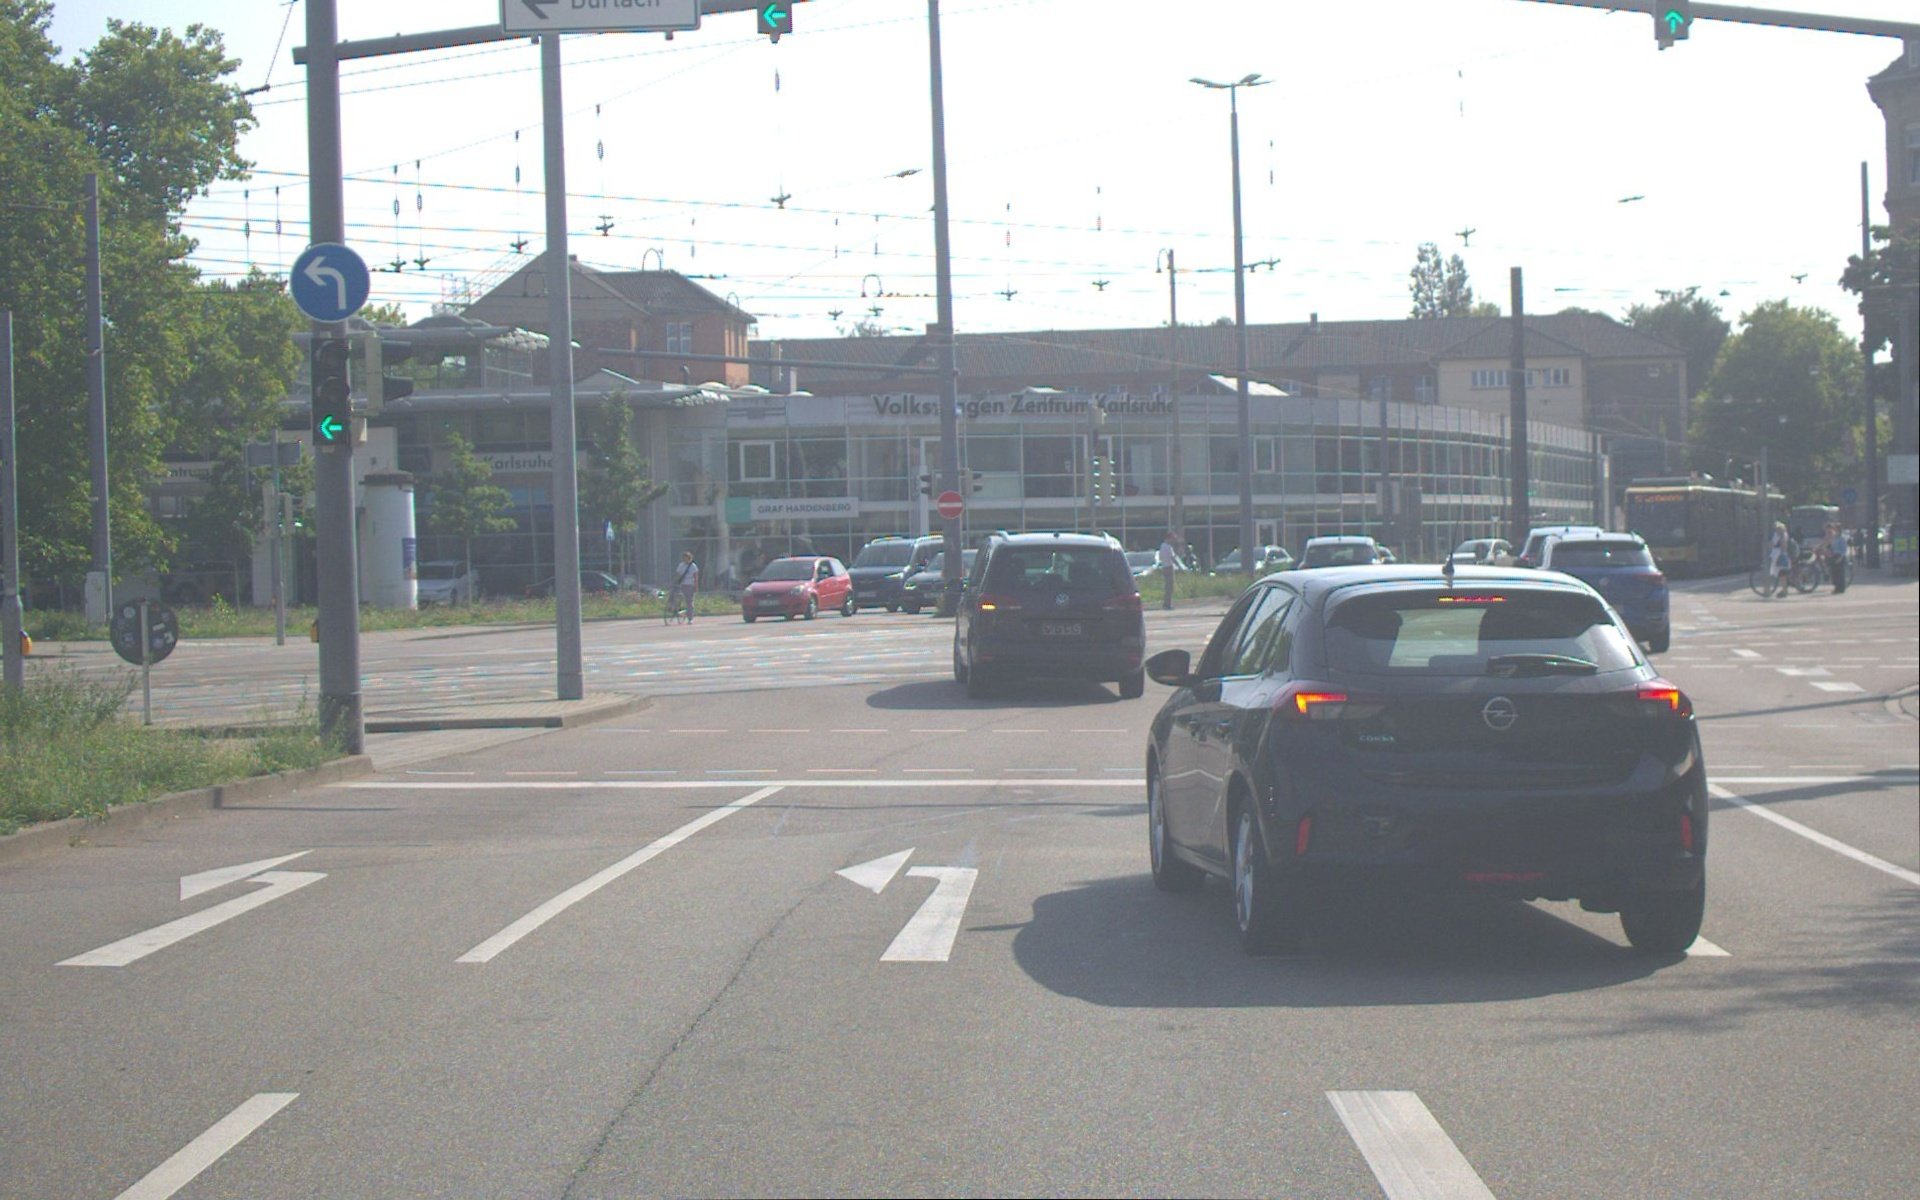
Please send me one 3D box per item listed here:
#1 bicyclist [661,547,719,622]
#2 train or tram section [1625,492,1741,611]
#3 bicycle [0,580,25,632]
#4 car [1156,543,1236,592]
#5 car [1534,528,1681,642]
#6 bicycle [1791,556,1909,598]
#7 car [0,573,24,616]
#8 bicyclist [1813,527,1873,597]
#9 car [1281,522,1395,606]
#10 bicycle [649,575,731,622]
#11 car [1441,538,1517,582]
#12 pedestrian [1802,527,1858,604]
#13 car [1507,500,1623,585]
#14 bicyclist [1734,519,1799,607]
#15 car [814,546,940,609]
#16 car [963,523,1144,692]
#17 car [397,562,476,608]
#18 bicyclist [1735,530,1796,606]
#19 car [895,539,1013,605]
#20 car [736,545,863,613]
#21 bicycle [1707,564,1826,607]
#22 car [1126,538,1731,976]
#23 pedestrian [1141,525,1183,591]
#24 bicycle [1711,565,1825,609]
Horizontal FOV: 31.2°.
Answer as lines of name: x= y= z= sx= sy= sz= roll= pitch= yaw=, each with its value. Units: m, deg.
bicyclist: x=-6.348 y=-0.363 z=80.942 sx=0.958 sy=1.742 sz=1.165 roll=-1 pitch=1 yaw=18
train or tram section: x=24.038 y=-1.664 z=113.966 sx=2.657 sy=3.686 sz=10.580 roll=-1 pitch=1 yaw=18
bicycle: x=-20.543 y=0.146 z=70.449 sx=2.599 sy=1.053 sz=0.961 roll=-1 pitch=1 yaw=-12
car: x=7.741 y=-1.072 z=112.464 sx=1.615 sy=1.470 sz=3.996 roll=-3 pitch=0 yaw=18
car: x=8.735 y=-0.232 z=46.391 sx=1.826 sy=1.423 sz=4.410 roll=-1 pitch=1 yaw=11
bicycle: x=21.691 y=-0.575 z=83.812 sx=2.617 sy=0.961 sz=1.093 roll=-2 pitch=1 yaw=-21
car: x=-35.602 y=-0.158 z=122.067 sx=1.703 sy=1.517 sz=4.506 roll=0 pitch=1 yaw=34
bicyclist: x=21.505 y=-0.936 z=83.730 sx=0.934 sy=1.674 sz=1.093 roll=-1 pitch=1 yaw=-21
car: x=7.398 y=-0.731 z=66.974 sx=1.826 sy=1.530 sz=4.410 roll=-1 pitch=1 yaw=11
bicycle: x=-6.346 y=-0.040 z=80.942 sx=0.958 sy=1.053 sz=2.606 roll=-1 pitch=1 yaw=18
car: x=18.823 y=-1.455 z=124.550 sx=1.616 sy=1.470 sz=3.995 roll=-3 pitch=0 yaw=25
pedestrian: x=20.554 y=-0.819 z=81.239 sx=0.925 sy=1.791 sz=0.859 roll=-2 pitch=1 yaw=-38
car: x=10.851 y=-1.040 z=61.504 sx=1.826 sy=1.423 sz=4.410 roll=-1 pitch=1 yaw=12
bicyclist: x=18.788 y=-0.857 z=80.075 sx=0.934 sy=2.017 sz=1.093 roll=-2 pitch=1 yaw=-35
car: x=-2.081 y=-0.591 z=87.251 sx=1.962 sy=1.470 sz=3.997 roll=-3 pitch=0 yaw=17
car: x=0.970 y=0.034 z=37.232 sx=1.825 sy=1.708 sz=4.412 roll=-1 pitch=1 yaw=0
car: x=-18.246 y=-0.538 z=120.006 sx=1.700 sy=1.517 sz=4.098 roll=-1 pitch=1 yaw=7
bicyclist: x=19.298 y=-0.777 z=82.345 sx=0.934 sy=1.793 sz=1.093 roll=-1 pitch=1 yaw=-21
car: x=-0.116 y=-0.688 z=82.303 sx=1.615 sy=1.470 sz=3.997 roll=-3 pitch=0 yaw=17
car: x=-3.718 y=-0.508 z=80.181 sx=1.615 sy=1.470 sz=3.997 roll=-3 pitch=0 yaw=17
bicycle: x=19.320 y=-0.358 z=82.359 sx=2.617 sy=0.961 sz=1.093 roll=-2 pitch=1 yaw=-21
car: x=1.741 y=0.514 z=14.153 sx=1.682 sy=1.486 sz=4.373 roll=-1 pitch=1 yaw=-3
pedestrian: x=4.686 y=-0.971 z=79.720 sx=0.778 sy=1.498 sz=0.710 roll=-1 pitch=1 yaw=17
bicycle: x=18.837 y=-0.316 z=80.105 sx=2.618 sy=0.961 sz=1.093 roll=-2 pitch=1 yaw=-35
